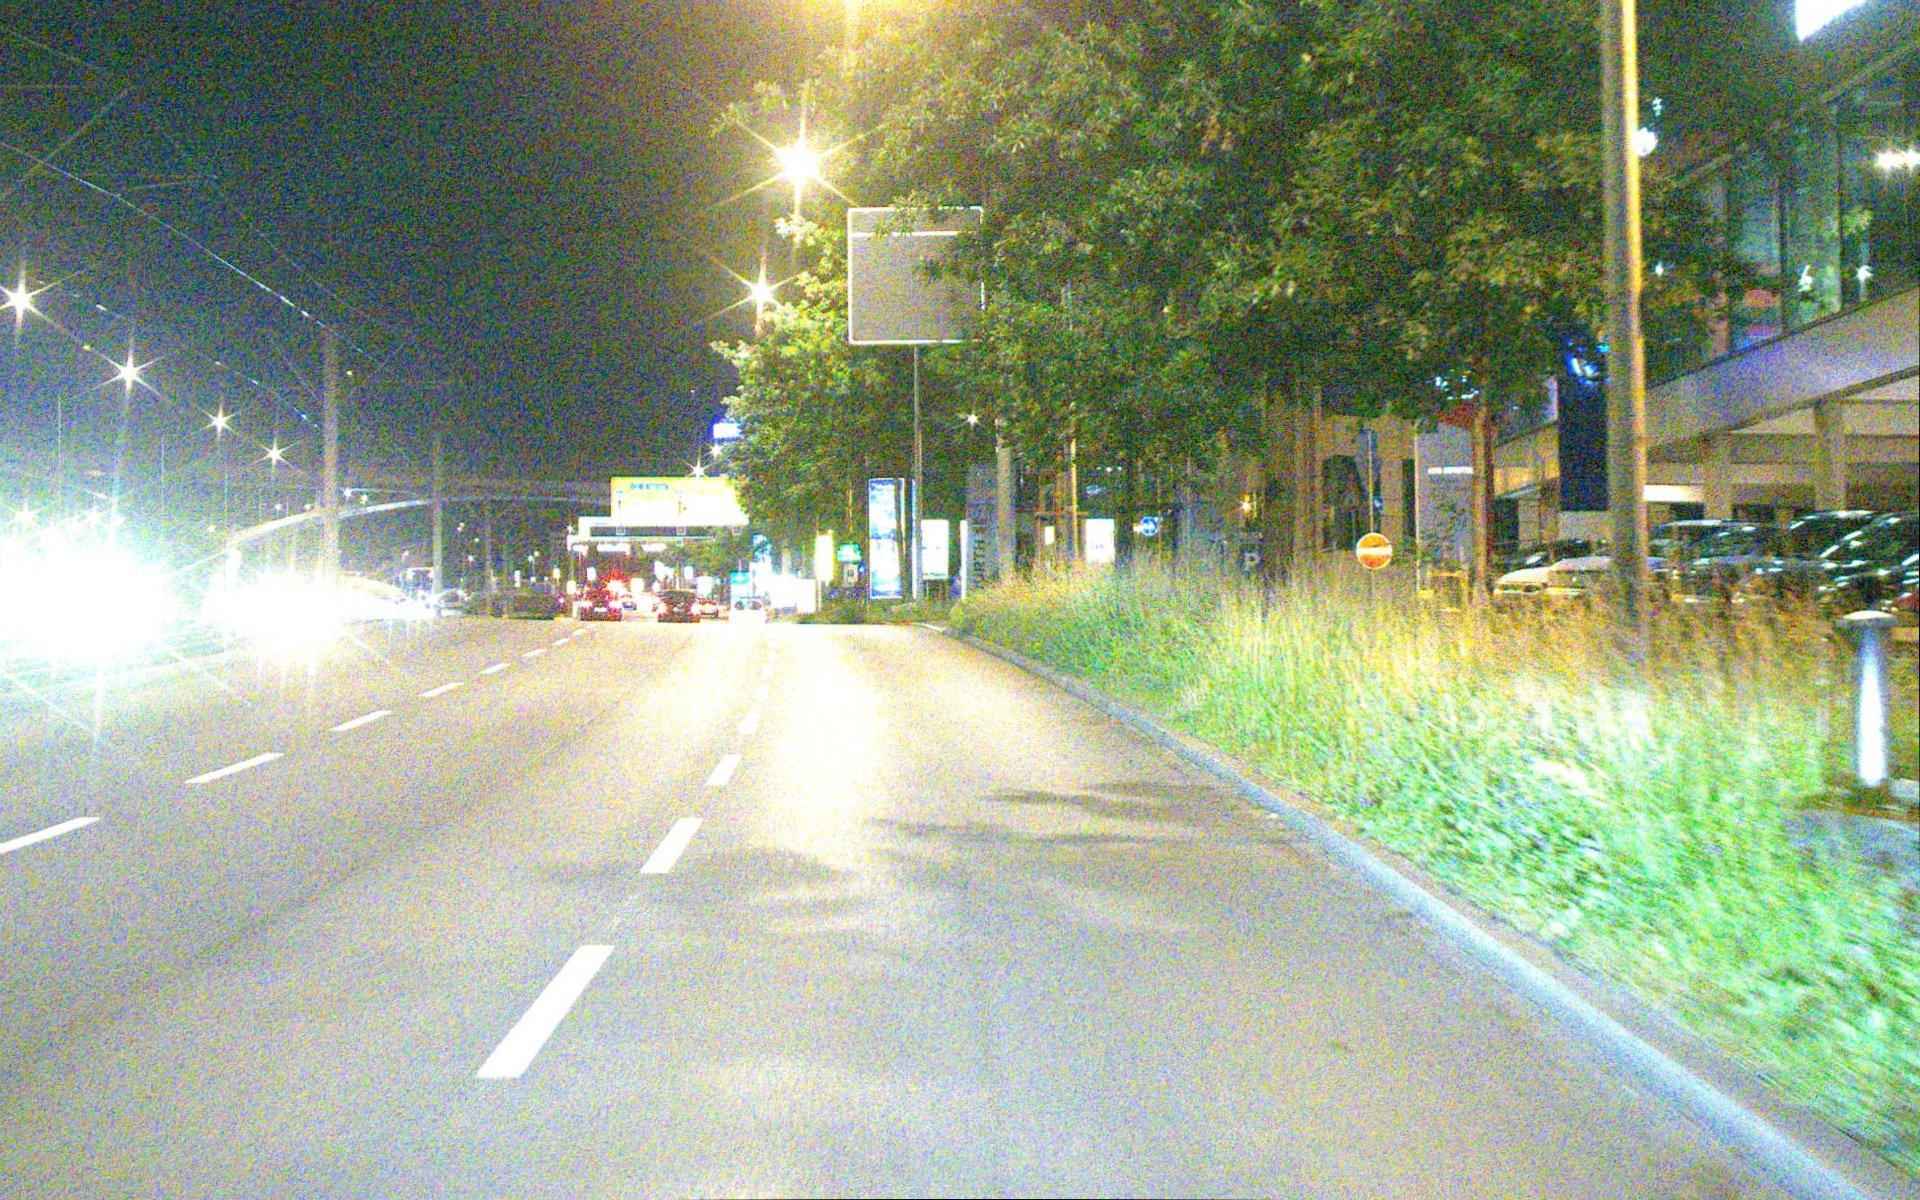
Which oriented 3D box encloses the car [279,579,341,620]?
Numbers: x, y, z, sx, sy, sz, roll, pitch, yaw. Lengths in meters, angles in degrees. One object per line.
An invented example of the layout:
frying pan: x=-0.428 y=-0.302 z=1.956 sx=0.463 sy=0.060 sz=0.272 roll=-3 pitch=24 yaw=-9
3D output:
car: x=-24.170 y=-0.035 z=127.970 sx=1.620 sy=1.435 sz=4.338 roll=-2 pitch=1 yaw=-3

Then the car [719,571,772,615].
car: x=-10.430 y=-0.367 z=167.220 sx=2.427 sy=2.106 sz=4.826 roll=0 pitch=0 yaw=-2

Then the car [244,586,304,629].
car: x=-27.325 y=0.302 z=137.016 sx=1.993 sy=1.589 sz=4.001 roll=-2 pitch=1 yaw=-7

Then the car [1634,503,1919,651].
car: x=9.659 y=-0.290 z=37.809 sx=3.986 sy=1.465 sz=1.833 roll=-3 pitch=1 yaw=-21

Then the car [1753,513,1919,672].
car: x=9.793 y=-0.152 z=32.583 sx=3.986 sy=1.376 sz=1.809 roll=-3 pitch=2 yaw=-12

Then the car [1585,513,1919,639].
car: x=9.355 y=-0.280 z=40.529 sx=3.601 sy=1.428 sz=1.680 roll=0 pitch=0 yaw=-25

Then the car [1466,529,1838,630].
car: x=9.243 y=-0.307 z=45.881 sx=4.628 sy=1.260 sz=1.948 roll=-1 pitch=2 yaw=-26

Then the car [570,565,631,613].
car: x=-15.454 y=-0.485 z=147.957 sx=2.262 sy=2.007 sz=4.826 roll=0 pitch=0 yaw=-2

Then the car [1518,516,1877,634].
car: x=9.250 y=-0.339 z=43.158 sx=3.986 sy=1.419 sz=1.910 roll=-1 pitch=2 yaw=-19

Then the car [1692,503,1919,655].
car: x=9.679 y=-0.265 z=35.064 sx=3.986 sy=1.387 sz=1.827 roll=-3 pitch=3 yaw=-23

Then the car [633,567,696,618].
car: x=-12.385 y=-0.335 z=144.407 sx=2.356 sy=2.122 sz=4.826 roll=0 pitch=0 yaw=-2

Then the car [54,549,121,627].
car: x=-31.786 y=-0.415 z=125.336 sx=2.145 sy=2.662 sz=6.964 roll=-3 pitch=0 yaw=-14

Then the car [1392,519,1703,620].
car: x=8.681 y=-0.441 z=50.881 sx=4.120 sy=1.415 sz=1.877 roll=1 pitch=0 yaw=-15

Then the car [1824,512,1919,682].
car: x=9.713 y=-0.153 z=29.495 sx=4.022 sy=1.369 sz=1.826 roll=-4 pitch=2 yaw=-17
